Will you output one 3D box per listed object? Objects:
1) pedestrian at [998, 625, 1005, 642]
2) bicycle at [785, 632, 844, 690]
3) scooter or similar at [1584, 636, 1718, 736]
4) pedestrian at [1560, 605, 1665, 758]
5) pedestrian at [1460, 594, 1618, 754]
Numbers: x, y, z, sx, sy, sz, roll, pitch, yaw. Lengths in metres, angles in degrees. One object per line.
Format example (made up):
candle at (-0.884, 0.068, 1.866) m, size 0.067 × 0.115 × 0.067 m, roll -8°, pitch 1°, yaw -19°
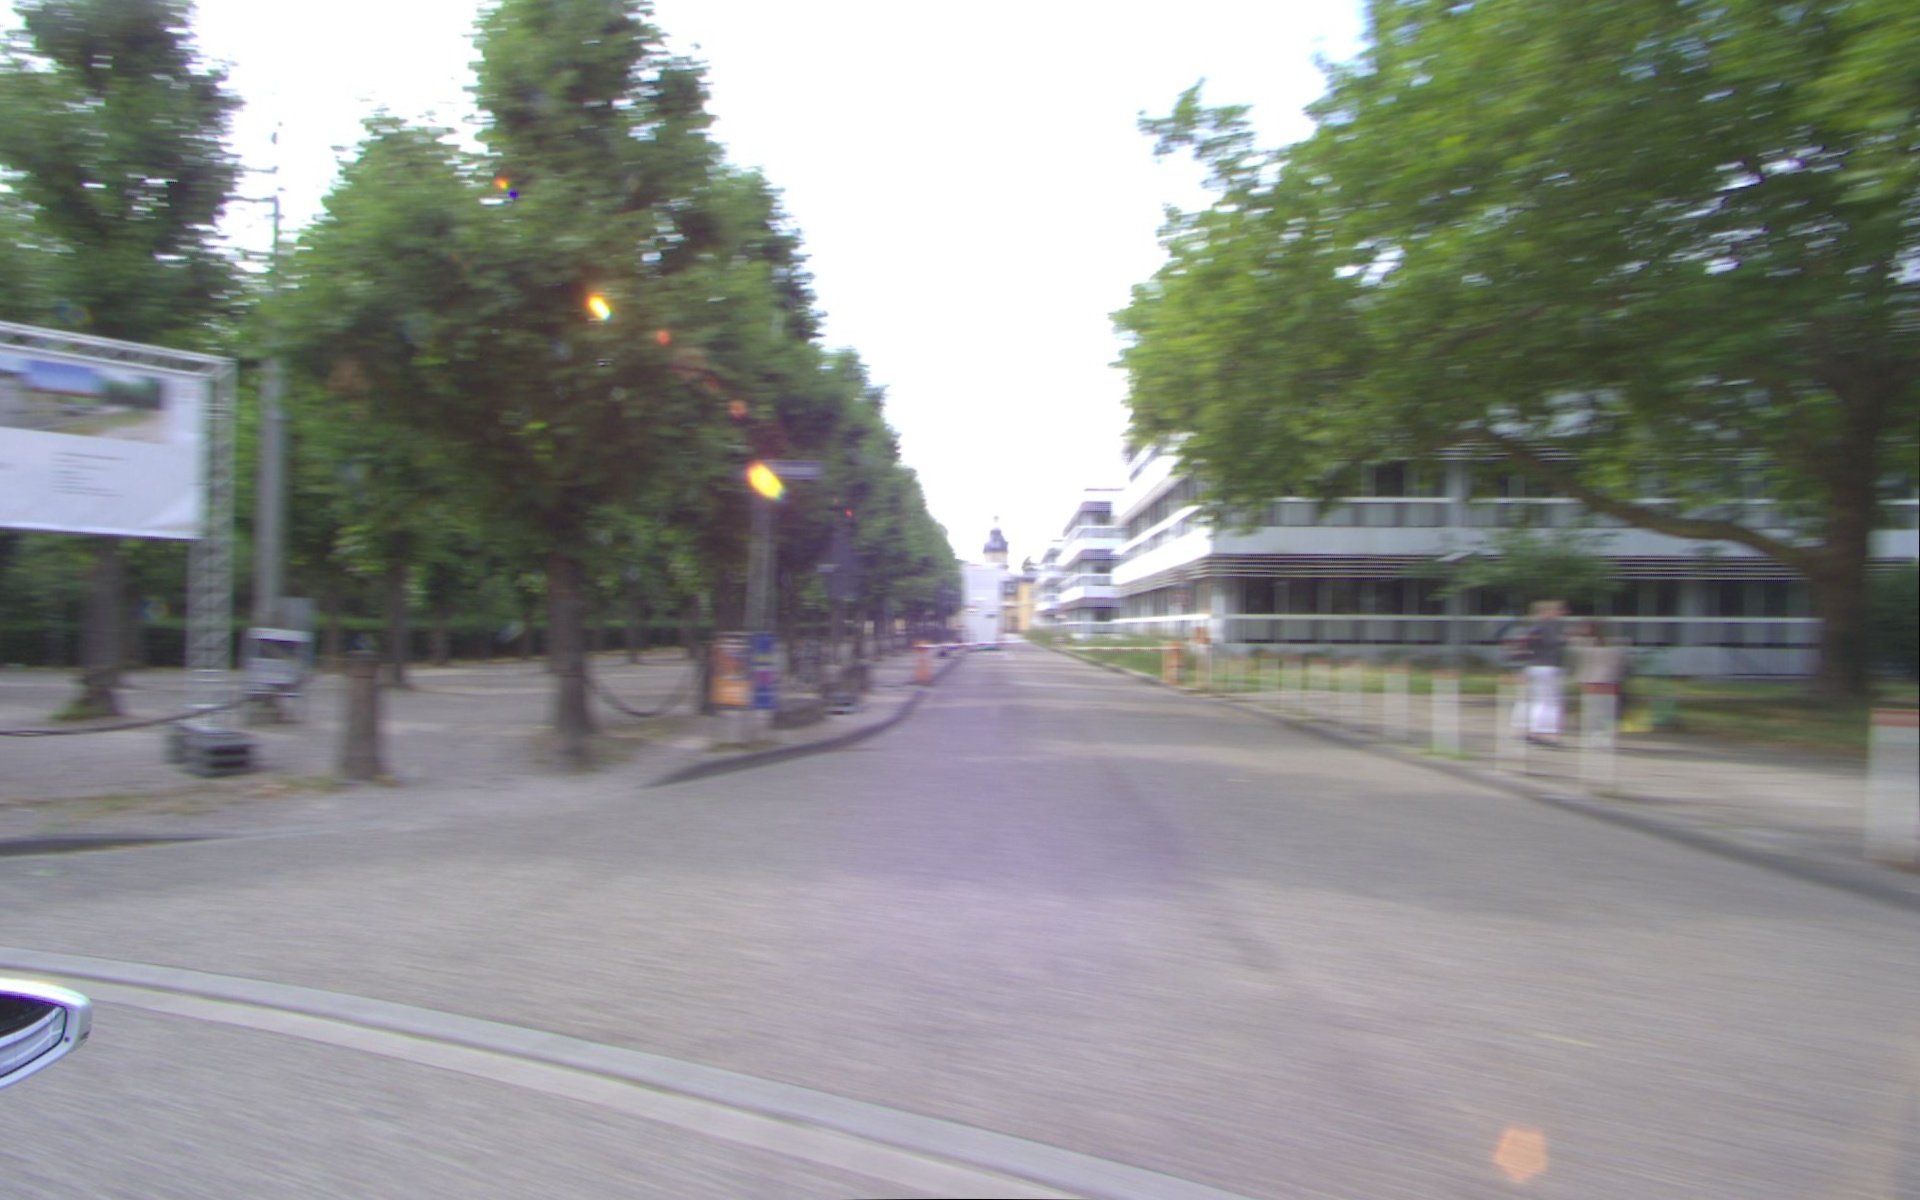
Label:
pedestrian at (4.199, 3.372, 101.463) m, size 0.452 × 1.646 × 0.631 m, roll 2°, pitch 0°, yaw -12°
bicycle at (-3.223, 1.308, 21.949) m, size 0.938 × 1.124 × 2.575 m, roll 2°, pitch -1°, yaw -15°
scooter or similar at (9.464, 1.170, 13.739) m, size 1.426 × 1.285 × 0.570 m, roll 2°, pitch 0°, yaw -3°
pedestrian at (7.553, 0.912, 11.644) m, size 0.884 × 1.663 × 0.849 m, roll 2°, pitch 0°, yaw 27°
pedestrian at (6.782, 0.848, 11.792) m, size 1.231 × 1.764 × 0.963 m, roll 2°, pitch 0°, yaw -3°
